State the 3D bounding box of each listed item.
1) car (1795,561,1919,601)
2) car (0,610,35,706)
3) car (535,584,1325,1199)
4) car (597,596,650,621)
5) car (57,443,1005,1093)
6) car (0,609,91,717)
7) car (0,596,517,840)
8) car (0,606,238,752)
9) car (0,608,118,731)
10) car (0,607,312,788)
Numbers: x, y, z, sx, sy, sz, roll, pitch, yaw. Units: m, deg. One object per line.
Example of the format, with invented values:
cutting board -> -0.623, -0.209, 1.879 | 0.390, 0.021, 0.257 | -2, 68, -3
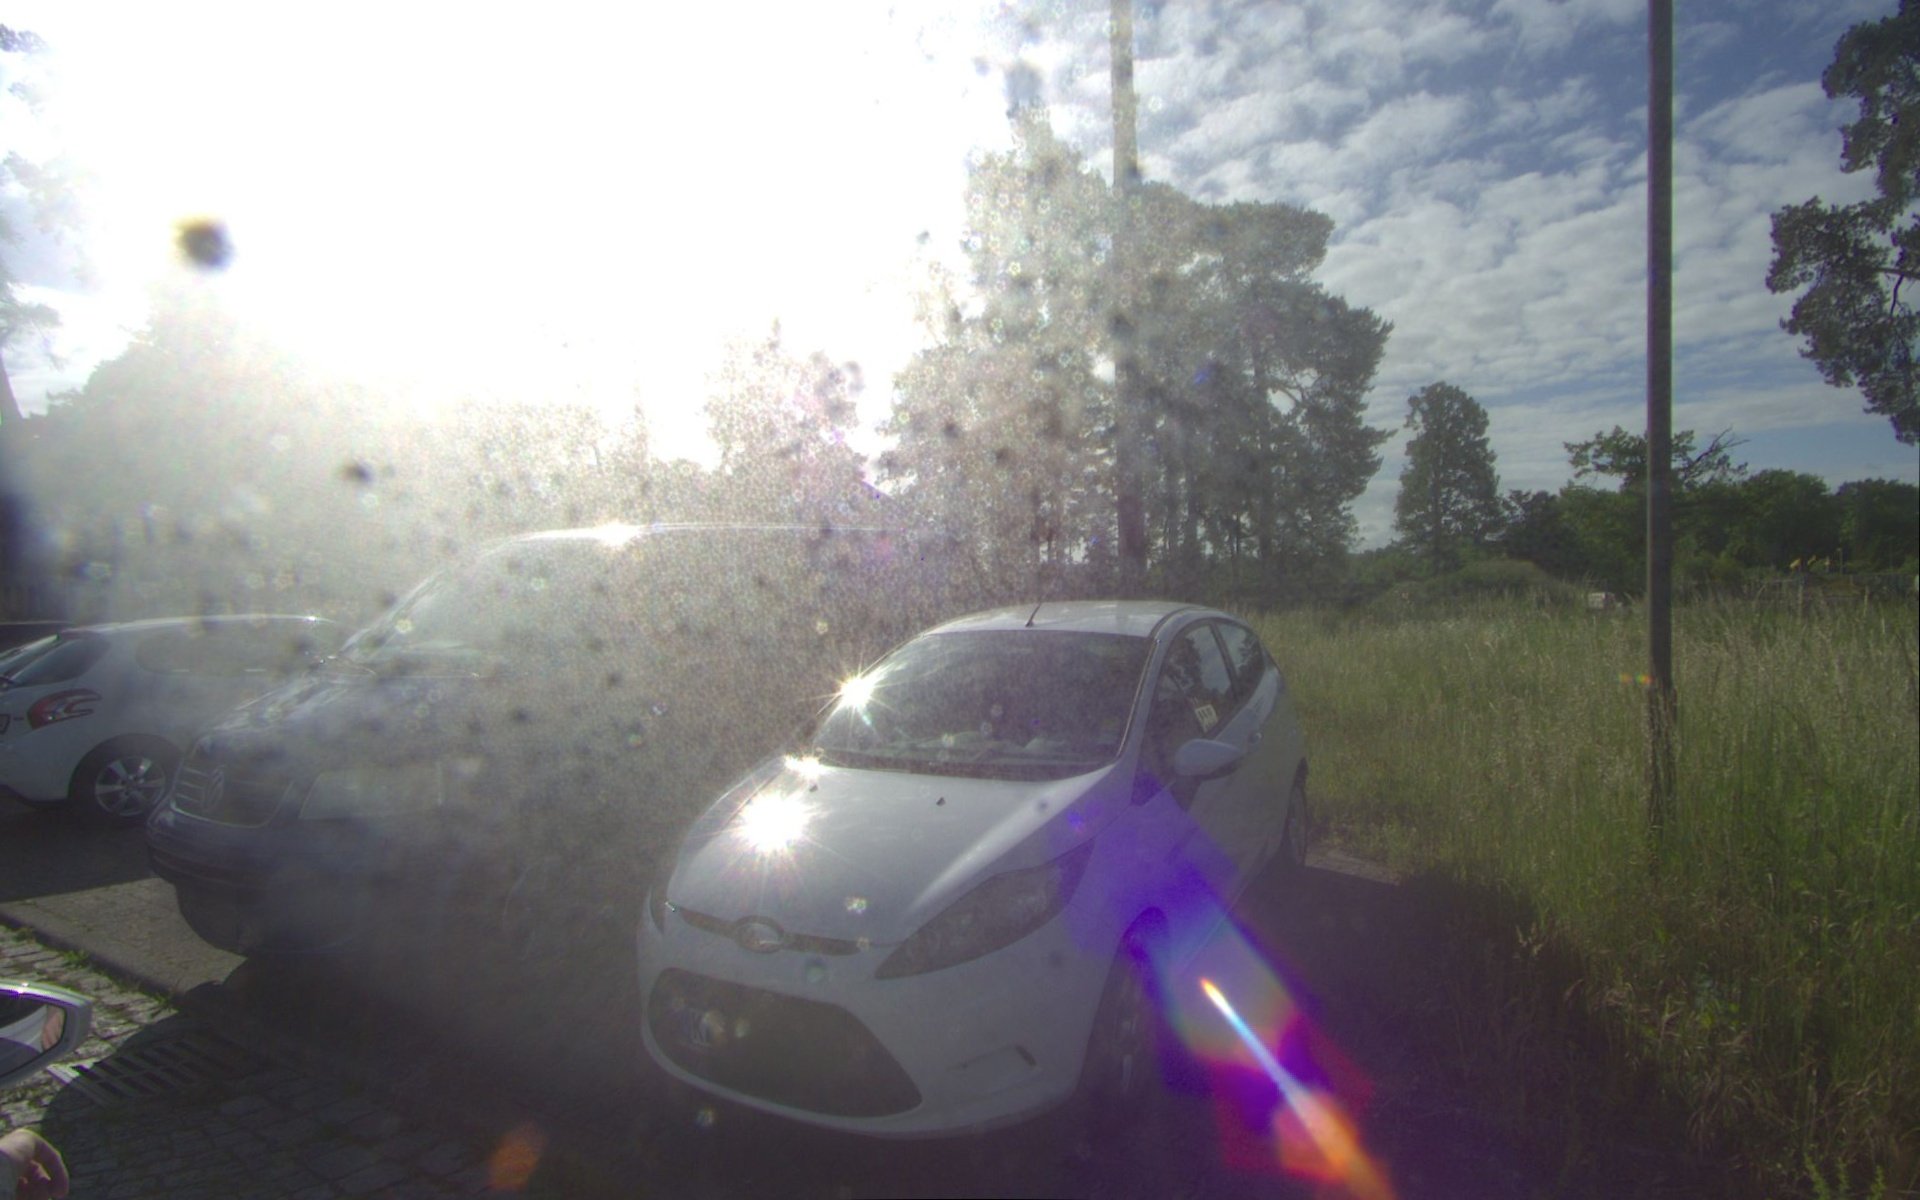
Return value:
car -> 56.111, -1.123, 62.245 | 2.342, 2.200, 5.983 | -1, -1, -31
car -> -17.027, 0.970, 15.234 | 1.620, 1.550, 4.030 | 0, 0, 28
car -> 0.362, 0.717, 4.201 | 1.620, 1.508, 3.713 | 0, 1, 29
car -> -28.818, 0.687, 85.906 | 1.971, 2.040, 3.979 | 0, 1, 32
car -> -1.696, 0.521, 5.692 | 2.052, 2.040, 4.671 | 0, 0, 29
car -> -15.055, 0.940, 14.335 | 1.621, 1.550, 3.596 | 0, 0, 30
car -> -6.003, 0.788, 8.631 | 1.622, 1.486, 3.684 | -1, 2, 32
car -> -10.822, 0.878, 11.719 | 1.621, 1.550, 3.472 | 0, 1, 30
car -> -13.268, 0.913, 12.806 | 1.621, 1.550, 3.472 | 0, 1, 30
car -> -8.683, 0.878, 9.706 | 1.621, 1.487, 3.668 | -1, 1, 30
